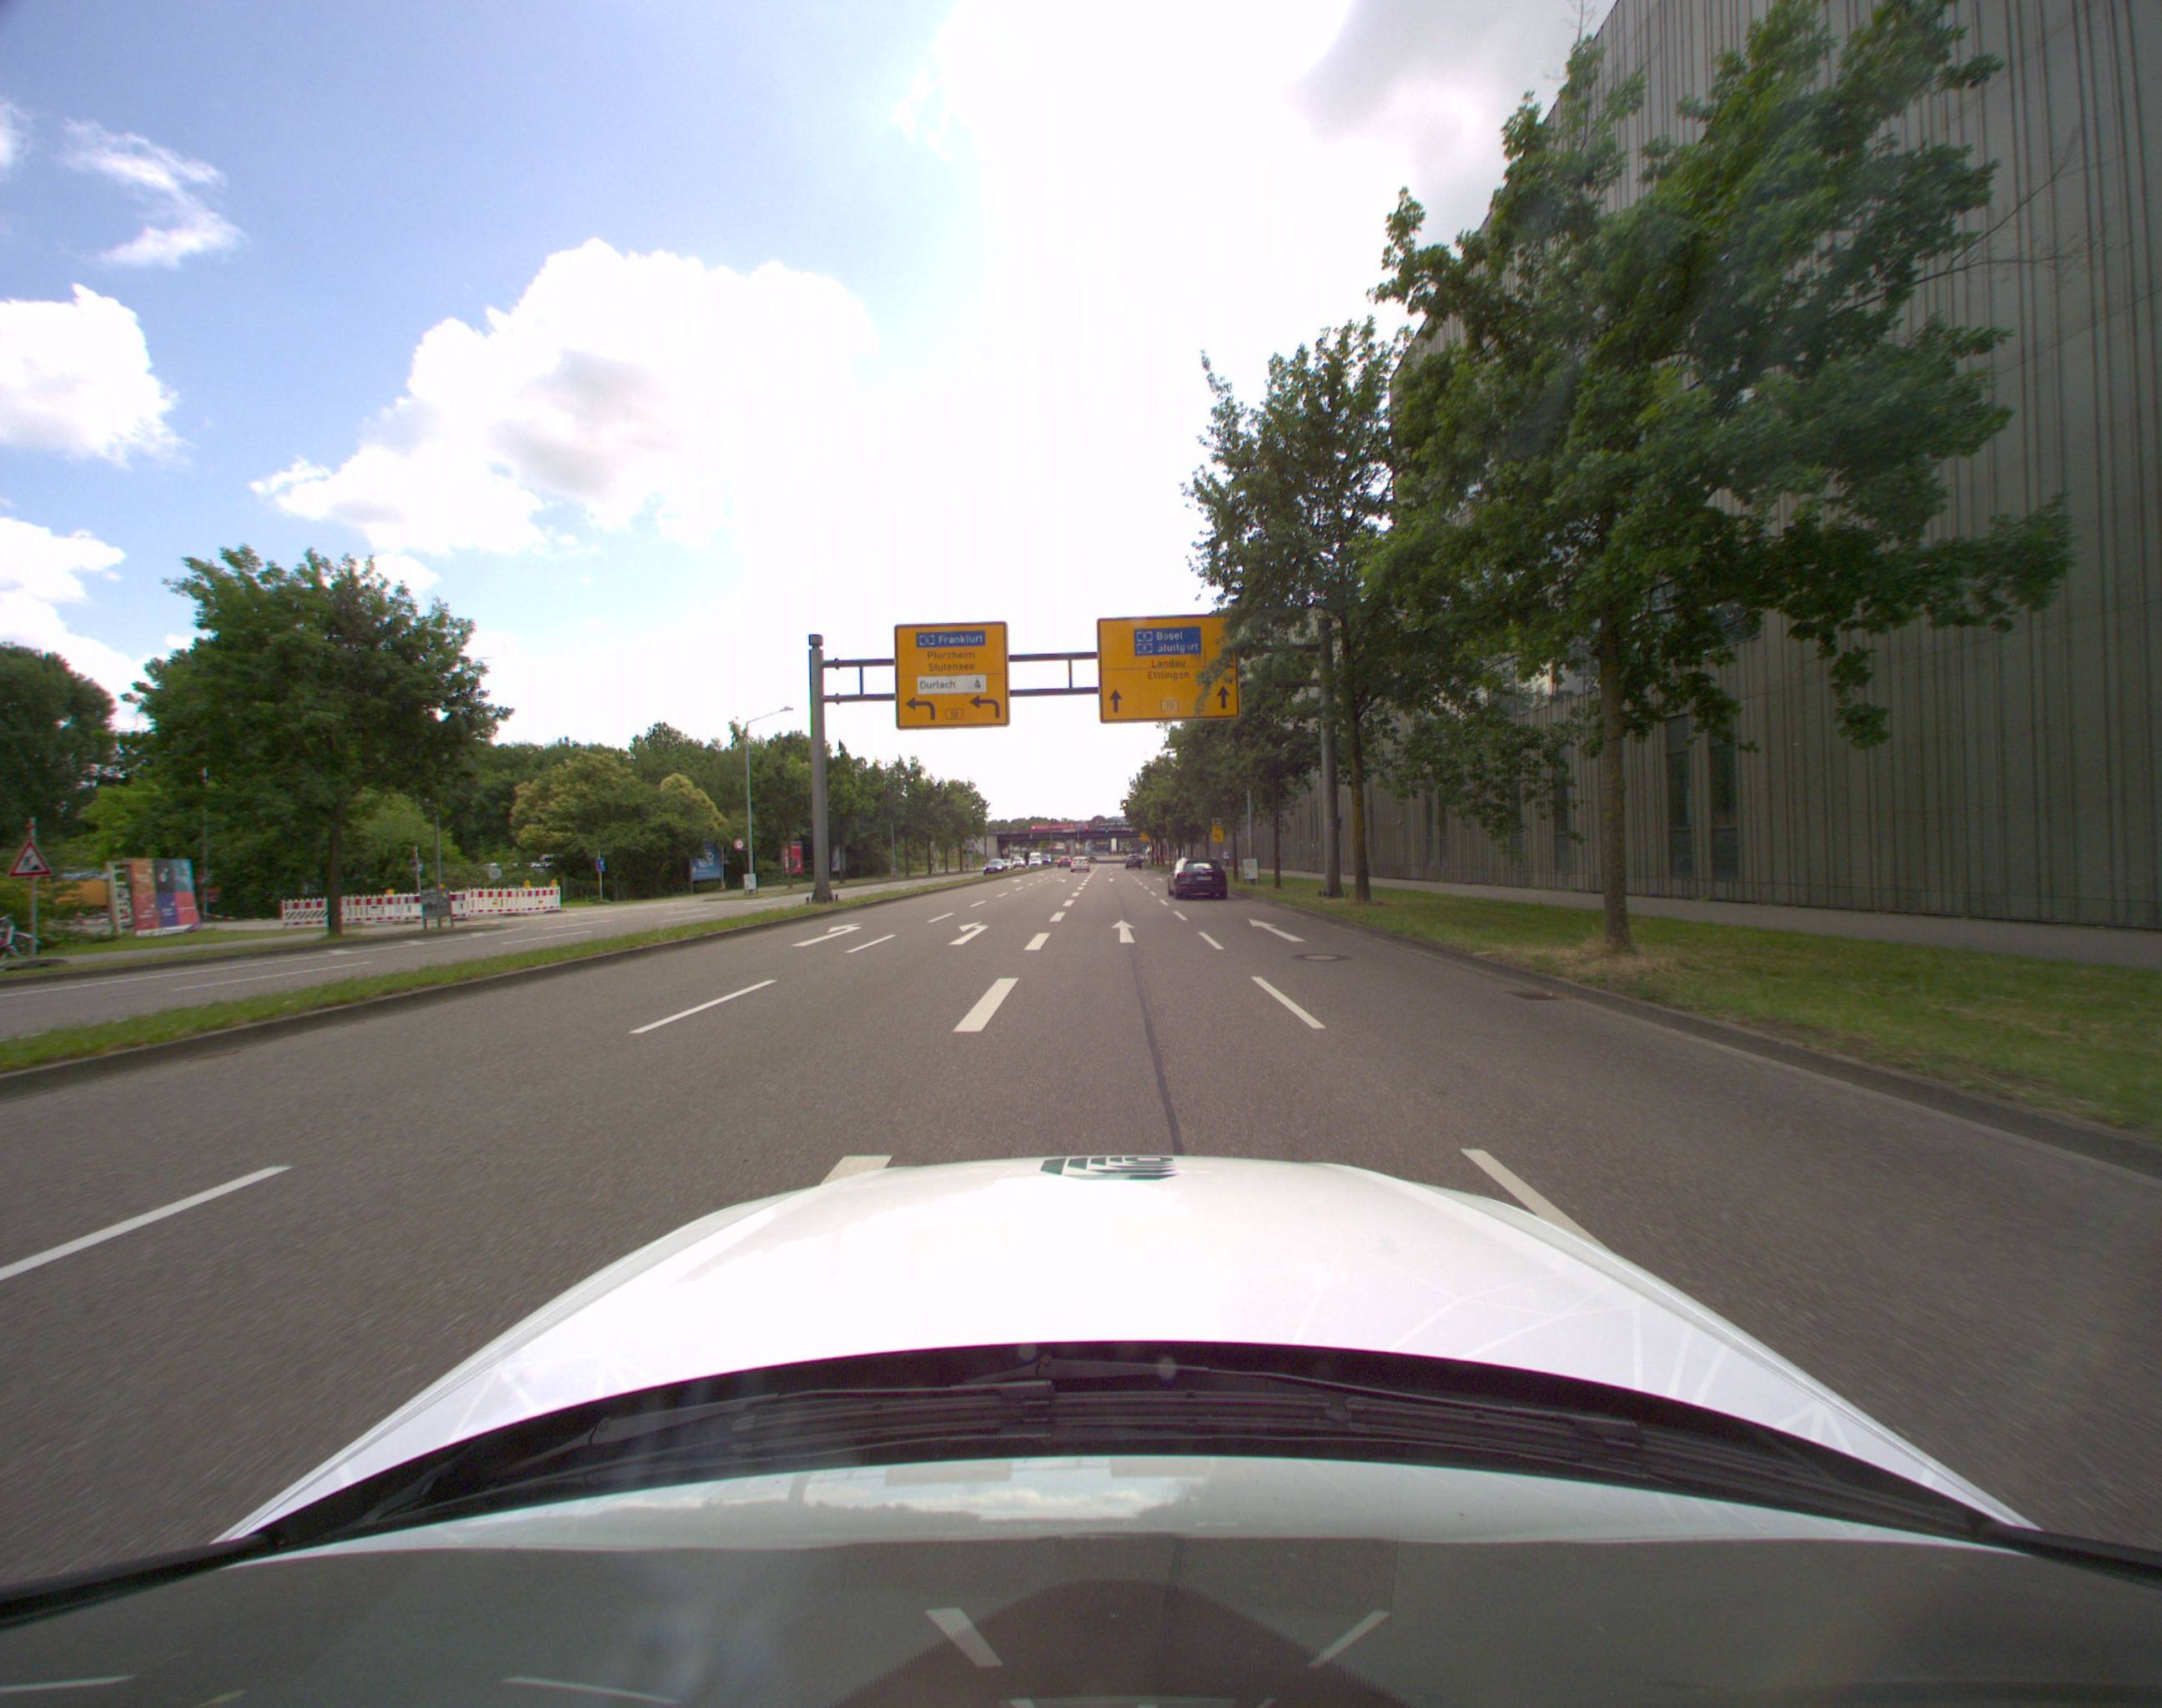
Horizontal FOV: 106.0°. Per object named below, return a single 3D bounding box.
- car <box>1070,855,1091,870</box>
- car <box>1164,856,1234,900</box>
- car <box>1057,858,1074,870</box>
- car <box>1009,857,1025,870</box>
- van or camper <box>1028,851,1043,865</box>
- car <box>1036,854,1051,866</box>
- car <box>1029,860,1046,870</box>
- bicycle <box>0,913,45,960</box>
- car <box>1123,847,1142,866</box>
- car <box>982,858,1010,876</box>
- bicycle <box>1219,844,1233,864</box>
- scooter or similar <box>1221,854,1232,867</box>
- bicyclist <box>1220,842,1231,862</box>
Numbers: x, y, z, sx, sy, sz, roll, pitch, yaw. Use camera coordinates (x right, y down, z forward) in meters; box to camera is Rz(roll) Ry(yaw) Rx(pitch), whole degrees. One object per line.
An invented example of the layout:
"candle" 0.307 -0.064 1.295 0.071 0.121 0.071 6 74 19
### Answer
"car" -0.047 0.803 79.487 1.908 1.415 4.297 1 0 2
"car" 4.128 0.794 29.199 1.986 1.390 4.578 0 1 2
"car" -2.091 1.333 109.446 1.986 1.415 4.834 -1 0 2
"car" -10.094 1.496 129.009 1.987 1.801 4.409 -2 0 1
"van or camper" -8.804 0.744 157.183 2.343 2.540 7.064 -1 0 1
"car" -6.583 0.992 144.244 2.183 1.964 5.194 -2 0 1
"car" -6.651 1.722 124.835 1.986 1.431 5.027 -2 0 2
"bicycle" -24.845 1.908 18.896 0.668 1.015 2.123 -2 -1 -43
"car" 5.979 0.263 94.945 1.986 2.037 4.715 -2 0 2
"car" -8.173 1.233 78.774 1.952 1.517 4.911 -2 0 1
"bicycle" 13.312 0.032 74.727 0.718 1.774 2.532 -2 0 -2
"scooter or similar" 14.692 0.608 82.230 0.701 1.246 2.481 -3 0 2
"bicyclist" 13.296 -0.185 74.971 0.713 1.769 0.988 -2 0 -2
